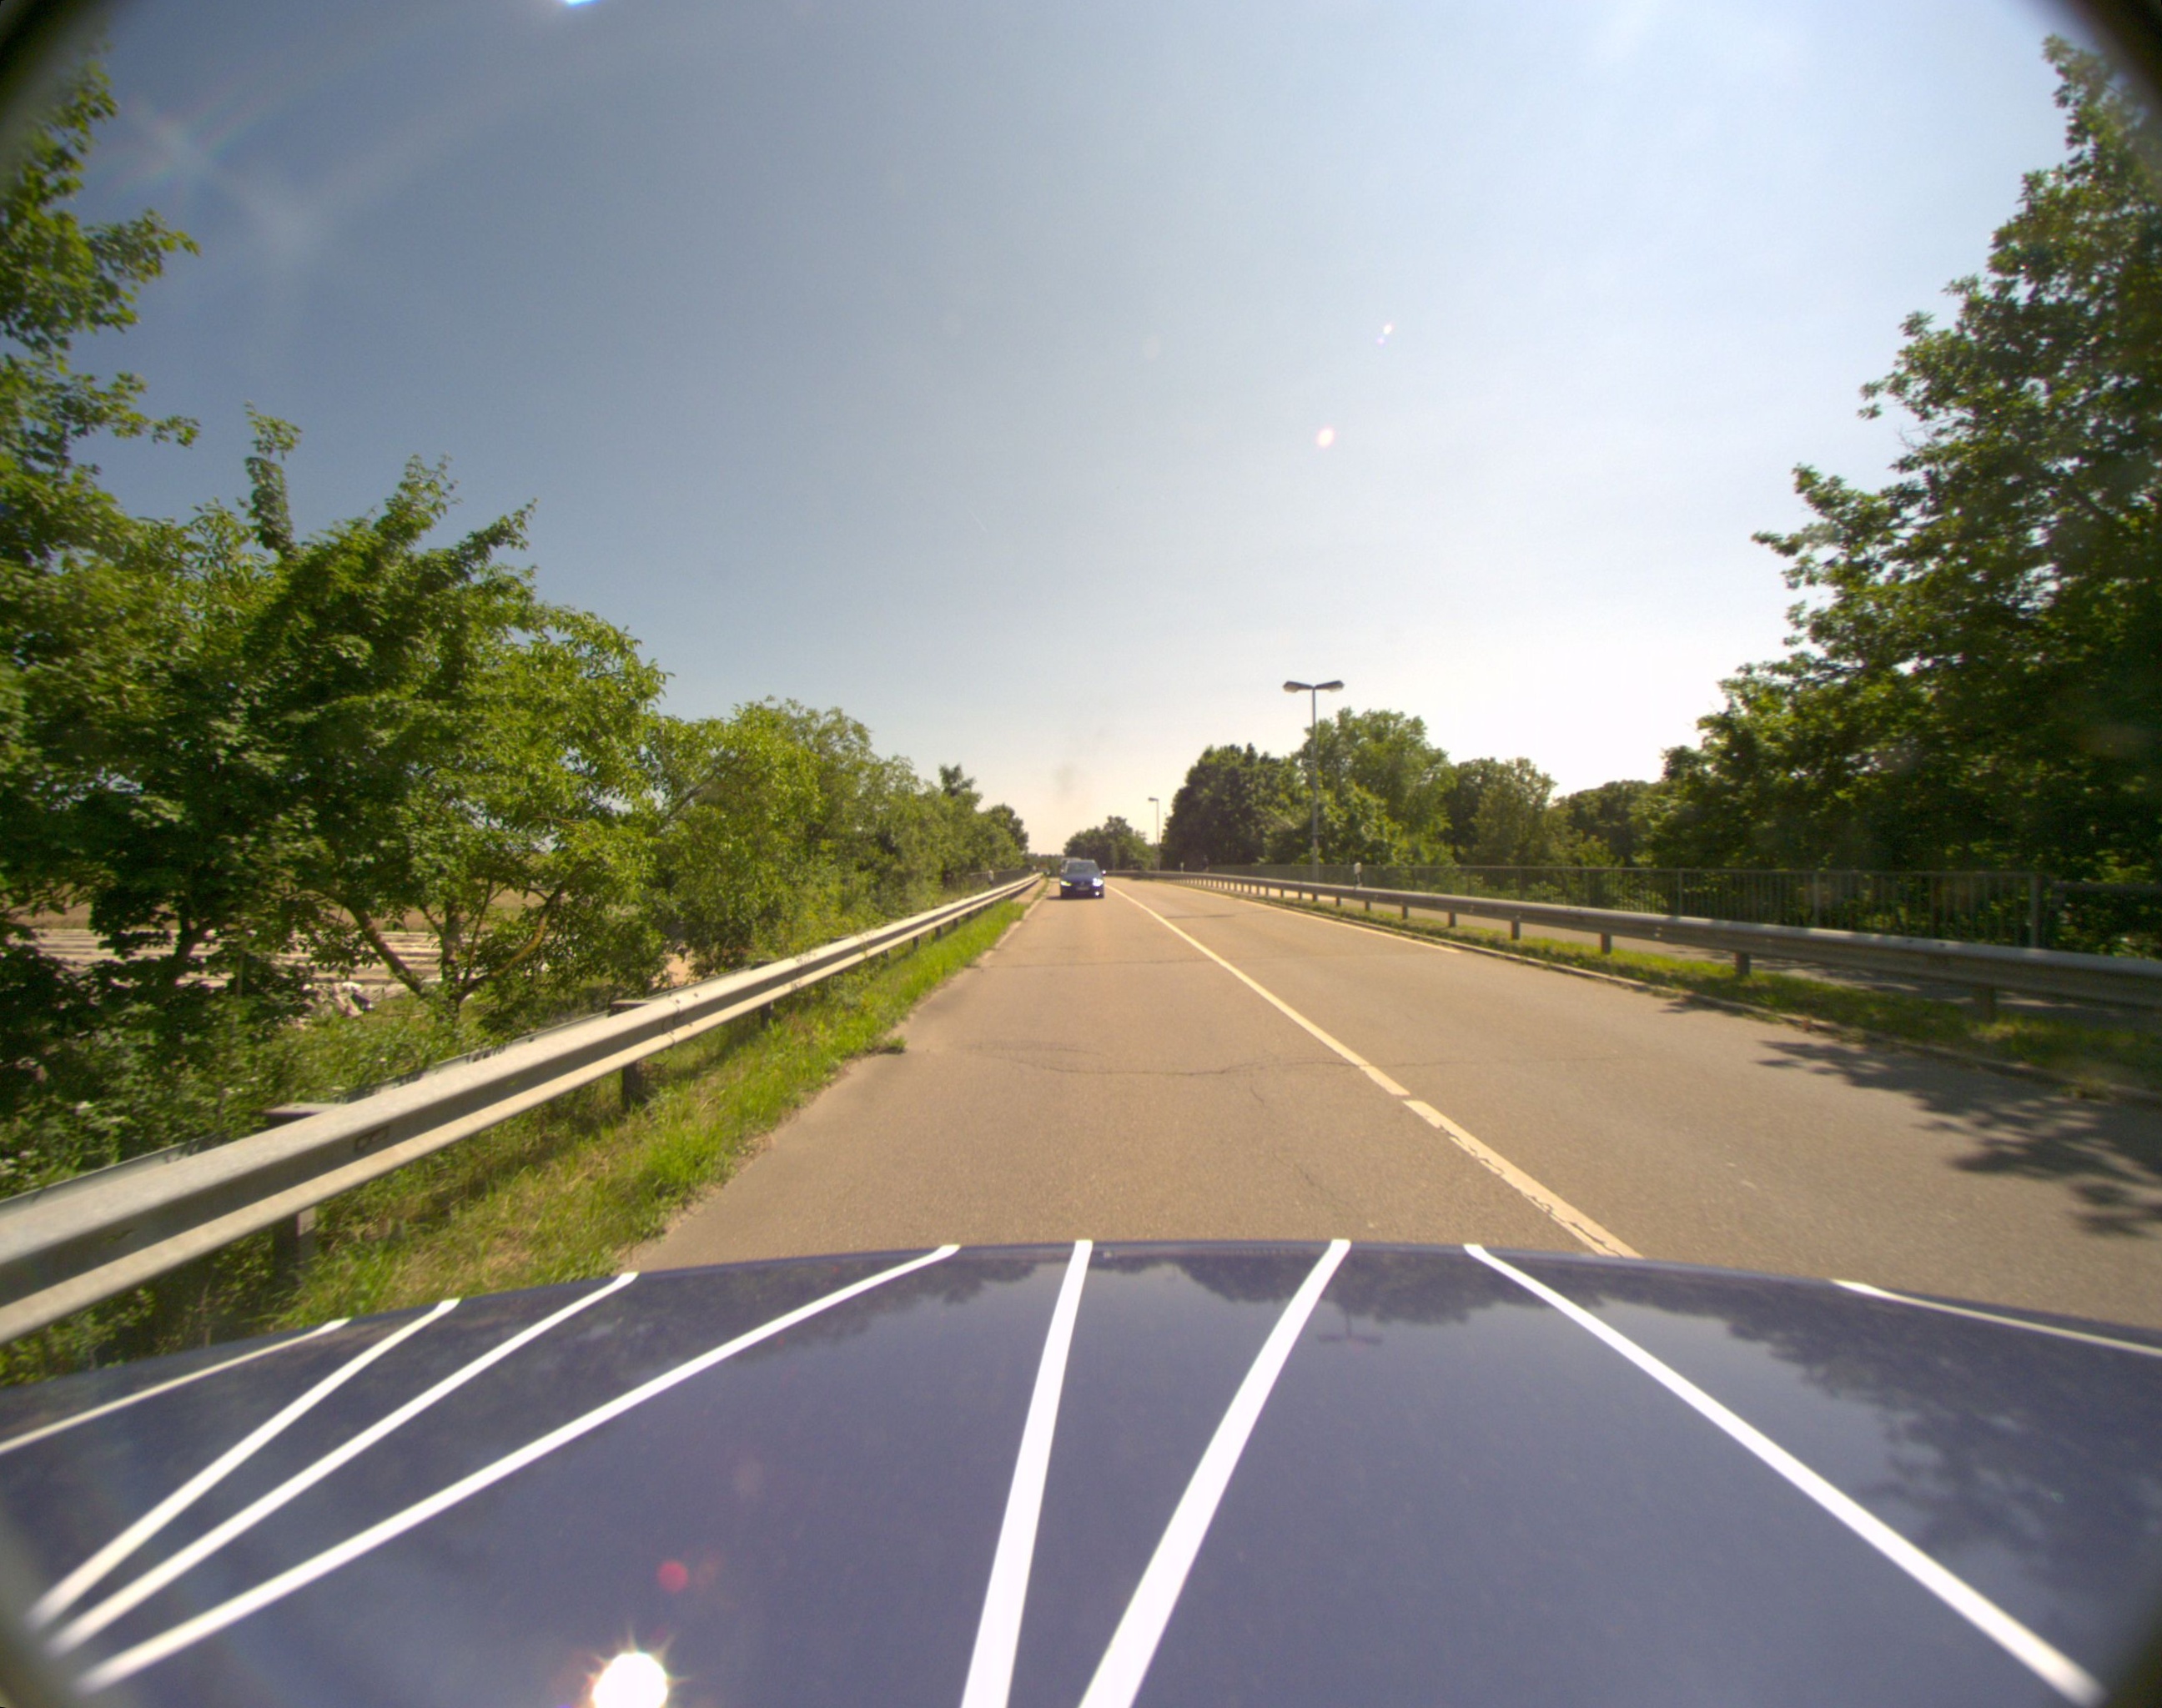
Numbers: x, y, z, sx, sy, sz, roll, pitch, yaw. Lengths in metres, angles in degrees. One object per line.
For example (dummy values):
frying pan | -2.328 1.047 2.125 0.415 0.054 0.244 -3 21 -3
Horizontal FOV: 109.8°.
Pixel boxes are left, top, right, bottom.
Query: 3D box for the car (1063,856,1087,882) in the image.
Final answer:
car | -0.518 1.192 62.607 1.765 1.953 4.261 -3 0 -2

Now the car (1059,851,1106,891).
car | 0.033 0.673 32.047 1.764 1.519 4.422 -3 0 -1

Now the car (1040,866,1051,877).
car | -5.873 2.936 126.717 1.765 1.530 3.683 -4 0 -3
